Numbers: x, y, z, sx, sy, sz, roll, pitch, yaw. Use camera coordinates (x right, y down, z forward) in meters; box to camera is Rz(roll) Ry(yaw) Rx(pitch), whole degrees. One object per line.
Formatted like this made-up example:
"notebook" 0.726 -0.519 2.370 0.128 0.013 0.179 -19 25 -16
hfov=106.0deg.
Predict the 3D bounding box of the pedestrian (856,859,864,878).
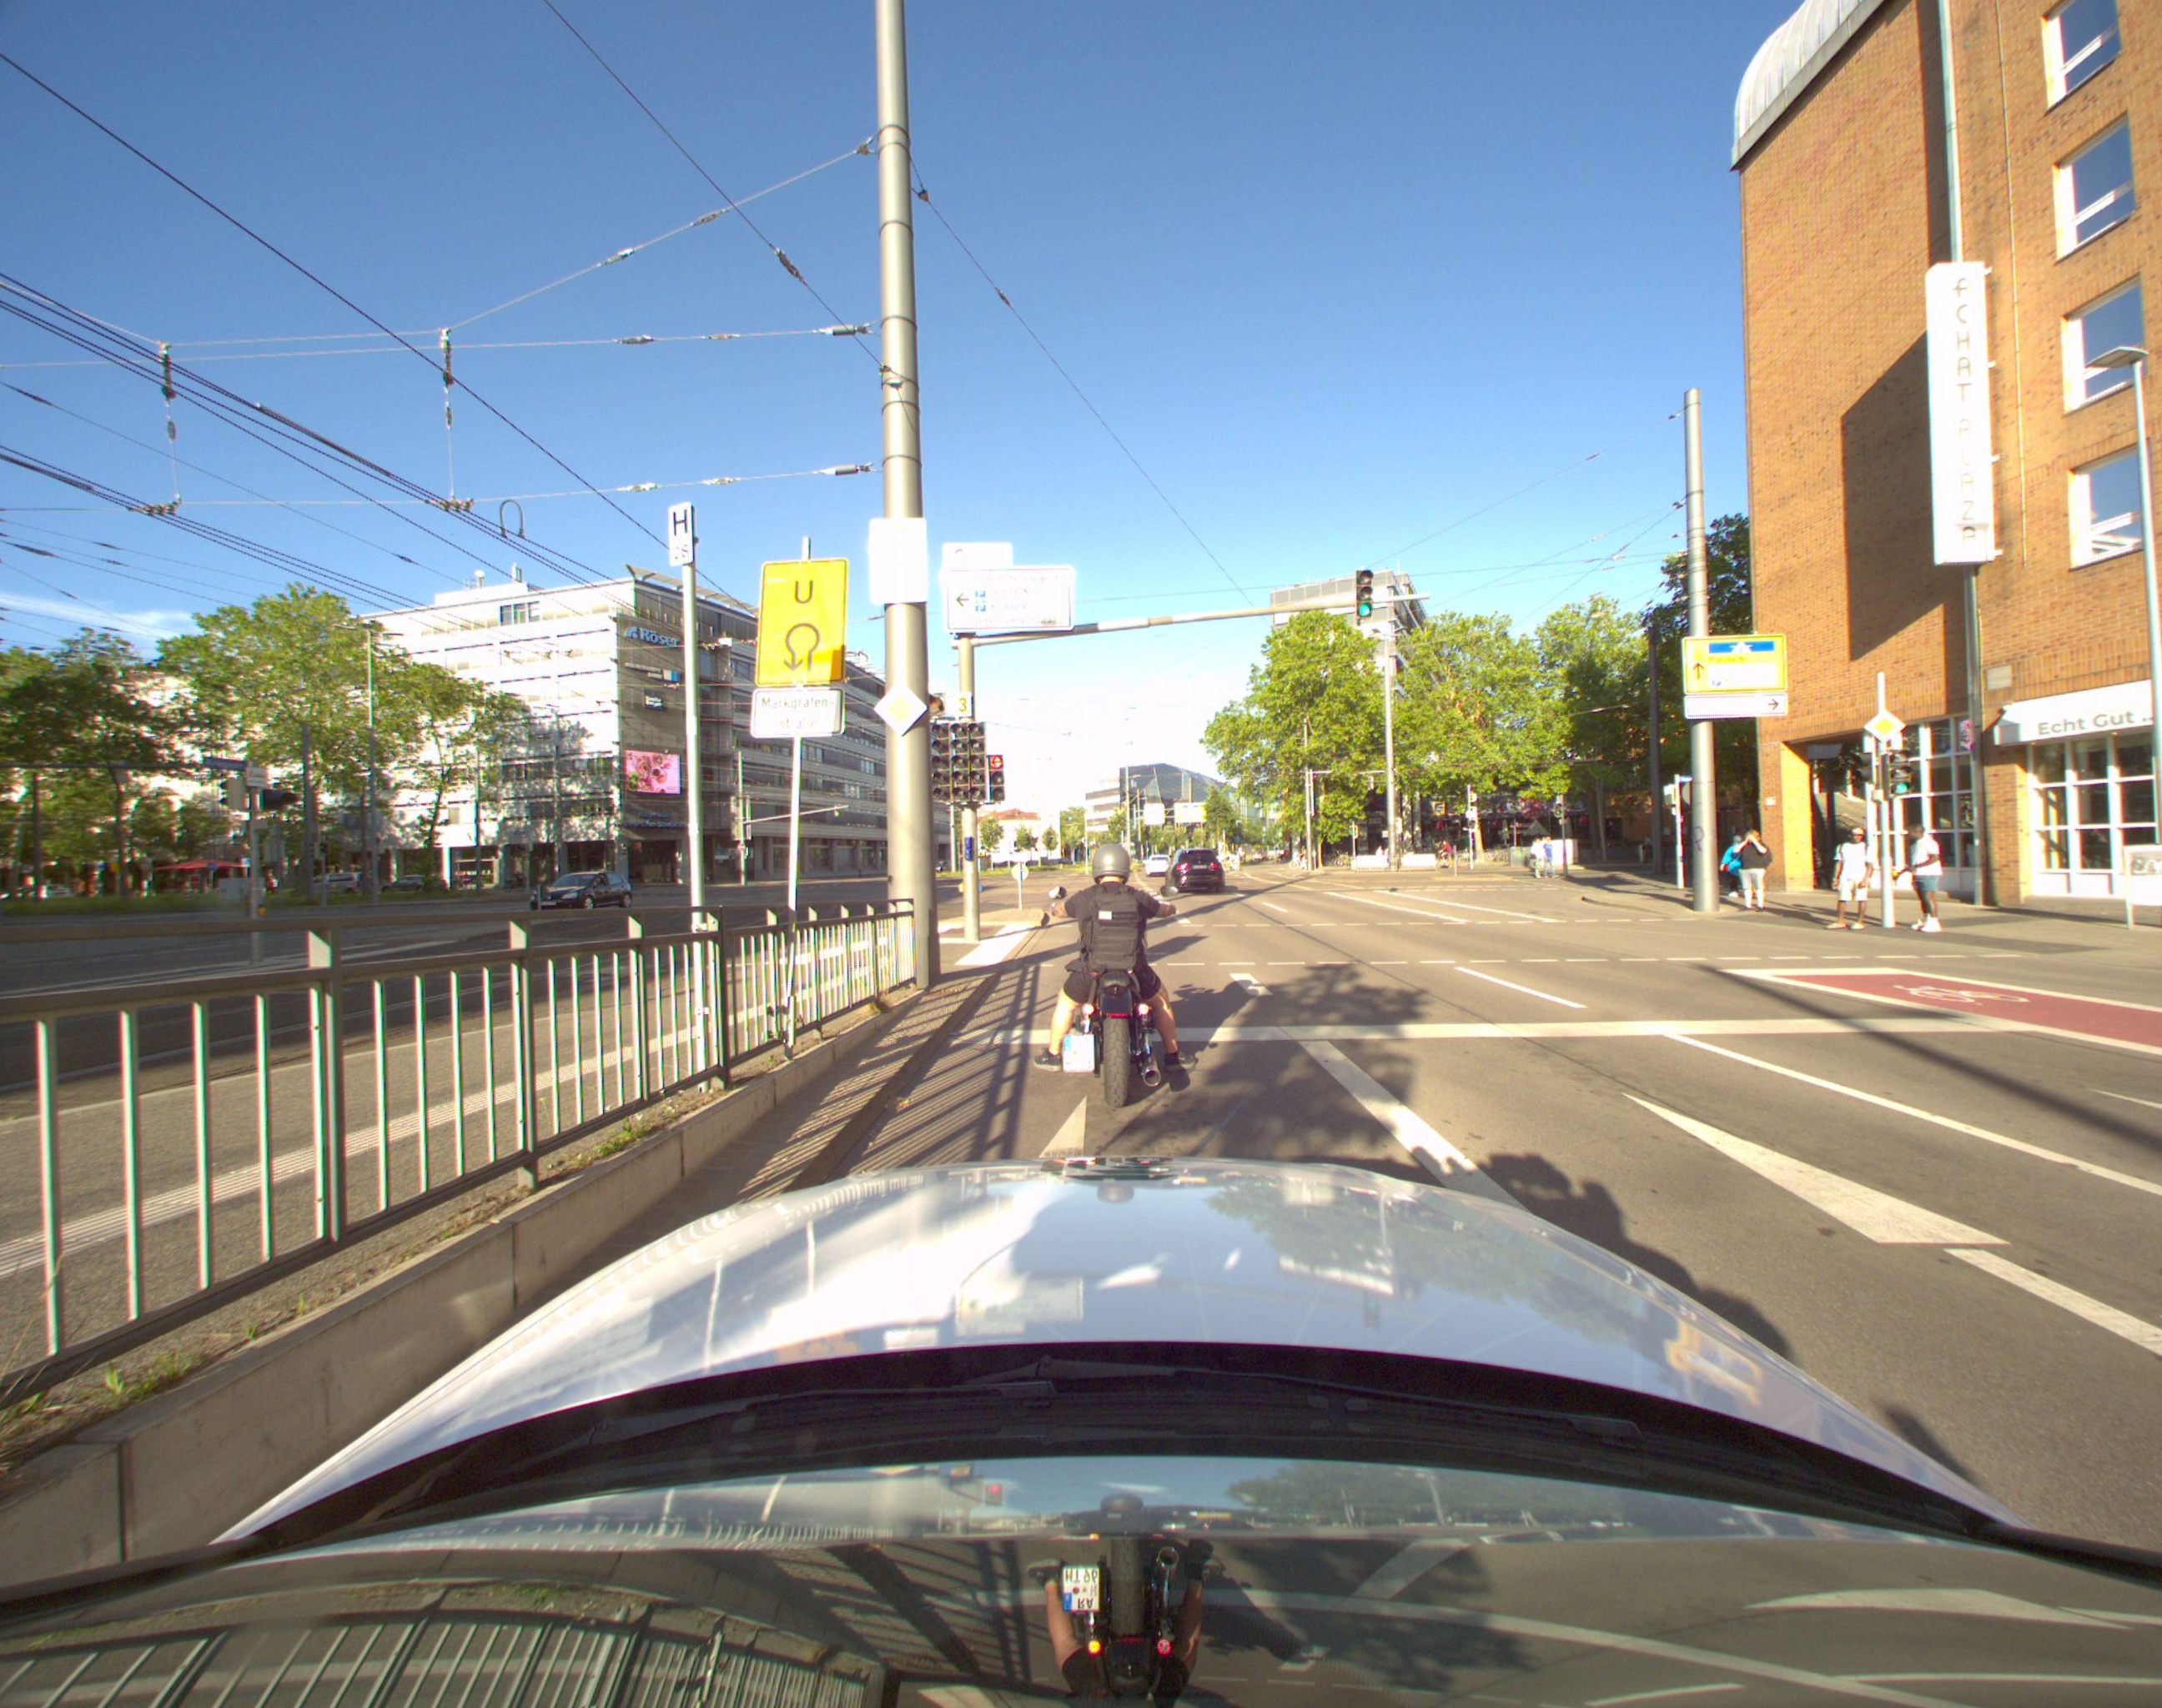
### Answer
"pedestrian" -24.648 1.620 90.970 0.628 2.014 0.754 0 -1 2

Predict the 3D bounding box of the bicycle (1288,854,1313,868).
"bicycle" 17.546 0.567 64.982 1.854 1.044 0.540 -1 -1 20

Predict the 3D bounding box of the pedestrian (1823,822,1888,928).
"pedestrian" 13.566 0.356 14.285 0.586 1.780 0.686 -5 0 32

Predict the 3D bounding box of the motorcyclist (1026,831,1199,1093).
"motorcyclist" 0.205 0.669 5.467 1.027 1.593 0.874 -2 0 1

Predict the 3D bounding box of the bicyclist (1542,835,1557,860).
"bicyclist" 28.691 -0.400 49.865 0.570 1.519 0.626 1 -1 -39

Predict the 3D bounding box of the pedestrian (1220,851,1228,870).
"pedestrian" 12.027 0.540 68.590 0.587 1.557 0.488 0 -1 -6

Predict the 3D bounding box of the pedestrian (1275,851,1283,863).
"pedestrian" 21.955 0.282 90.267 0.814 1.314 0.640 -1 -1 11

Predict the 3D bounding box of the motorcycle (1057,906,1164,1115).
"motorcycle" 0.203 0.958 5.727 0.598 1.036 2.235 0 0 2

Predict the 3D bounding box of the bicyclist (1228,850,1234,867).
"bicyclist" 12.343 0.395 66.975 0.380 1.373 0.344 0 -1 -7

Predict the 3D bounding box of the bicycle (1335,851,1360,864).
"bicycle" 21.404 0.287 65.380 1.874 1.046 0.360 0 -1 1

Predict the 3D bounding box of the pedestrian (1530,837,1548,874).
"pedestrian" 19.122 0.059 34.033 0.561 1.533 0.706 -1 -1 22

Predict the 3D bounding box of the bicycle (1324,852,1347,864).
"bicycle" 21.441 0.353 68.651 1.874 1.046 0.360 0 0 1

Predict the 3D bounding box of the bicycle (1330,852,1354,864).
"bicycle" 21.480 0.332 66.976 1.874 1.046 0.360 0 -1 1

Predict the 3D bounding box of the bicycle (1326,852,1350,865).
"bicycle" 21.477 0.359 68.165 1.874 1.046 0.360 0 -1 1

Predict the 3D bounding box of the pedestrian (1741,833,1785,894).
"pedestrian" 17.138 0.236 20.469 0.590 1.476 0.552 -2 -1 2

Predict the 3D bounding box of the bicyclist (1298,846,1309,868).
"bicyclist" 17.734 0.245 64.901 0.682 1.673 0.544 -2 -2 21

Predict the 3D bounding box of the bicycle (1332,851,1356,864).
"bicycle" 21.377 0.310 66.163 1.874 1.046 0.360 0 -1 1

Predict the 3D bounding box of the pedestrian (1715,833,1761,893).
"pedestrian" 16.380 0.217 20.312 0.590 1.452 0.601 -2 -1 2

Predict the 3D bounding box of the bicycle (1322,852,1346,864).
"bicycle" 21.481 0.353 69.151 1.874 1.046 0.360 0 0 1

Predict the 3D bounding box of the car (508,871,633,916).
"car" -17.876 1.337 28.780 1.821 1.430 4.237 0 -1 -2

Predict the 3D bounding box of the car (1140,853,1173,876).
"car" 5.065 0.664 55.016 1.797 1.430 4.453 -2 0 1

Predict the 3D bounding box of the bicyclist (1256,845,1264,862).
"bicyclist" 19.570 -0.017 89.108 0.693 1.808 0.730 0 -1 6

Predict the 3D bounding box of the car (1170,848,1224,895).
"car" 4.396 0.621 30.610 1.793 1.595 4.464 -2 0 9

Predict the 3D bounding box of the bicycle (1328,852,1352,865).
"bicycle" 21.439 0.351 67.534 1.874 1.046 0.360 0 0 1

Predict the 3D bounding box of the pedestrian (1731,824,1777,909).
"pedestrian" 14.599 0.275 17.663 0.727 1.792 0.515 -1 -1 42

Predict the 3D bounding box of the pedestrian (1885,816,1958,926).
"pedestrian" 14.157 0.281 13.720 0.682 1.780 0.589 -2 -1 -24

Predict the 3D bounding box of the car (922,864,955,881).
"car" -13.833 1.785 79.201 1.737 1.524 4.014 -1 -1 13

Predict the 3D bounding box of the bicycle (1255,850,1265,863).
"bicycle" 19.576 0.325 89.132 0.722 1.367 2.922 0 -1 6

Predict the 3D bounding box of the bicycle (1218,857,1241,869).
"bicycle" 12.171 0.756 66.944 1.823 0.925 0.357 0 -1 -7

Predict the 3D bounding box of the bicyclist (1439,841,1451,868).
"bicyclist" 25.099 0.044 56.147 0.582 1.837 0.403 0 -1 1

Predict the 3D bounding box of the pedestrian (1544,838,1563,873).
"pedestrian" 19.792 0.070 34.110 0.561 1.479 0.706 -1 -1 22

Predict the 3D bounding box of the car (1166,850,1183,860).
"car" 13.509 0.156 117.967 1.790 1.430 4.470 -2 0 14

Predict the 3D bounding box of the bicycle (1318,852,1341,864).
"bicycle" 21.477 0.359 70.303 1.874 1.046 0.360 0 0 1

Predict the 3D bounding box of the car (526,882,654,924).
"car" -13.858 1.361 23.134 2.884 1.063 1.235 0 -1 -19

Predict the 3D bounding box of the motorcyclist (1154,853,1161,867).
"motorcyclist" 8.561 0.693 91.103 0.792 1.580 0.530 0 -1 7

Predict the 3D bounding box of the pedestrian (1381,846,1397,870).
"pedestrian" 22.087 0.272 58.354 0.829 1.704 0.760 0 -1 2

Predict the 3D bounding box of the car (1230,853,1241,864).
"car" 25.470 0.804 134.469 1.519 1.838 3.589 -1 -1 15

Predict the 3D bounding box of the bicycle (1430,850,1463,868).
"bicycle" 25.201 0.352 56.141 2.034 1.214 0.421 0 -1 2
